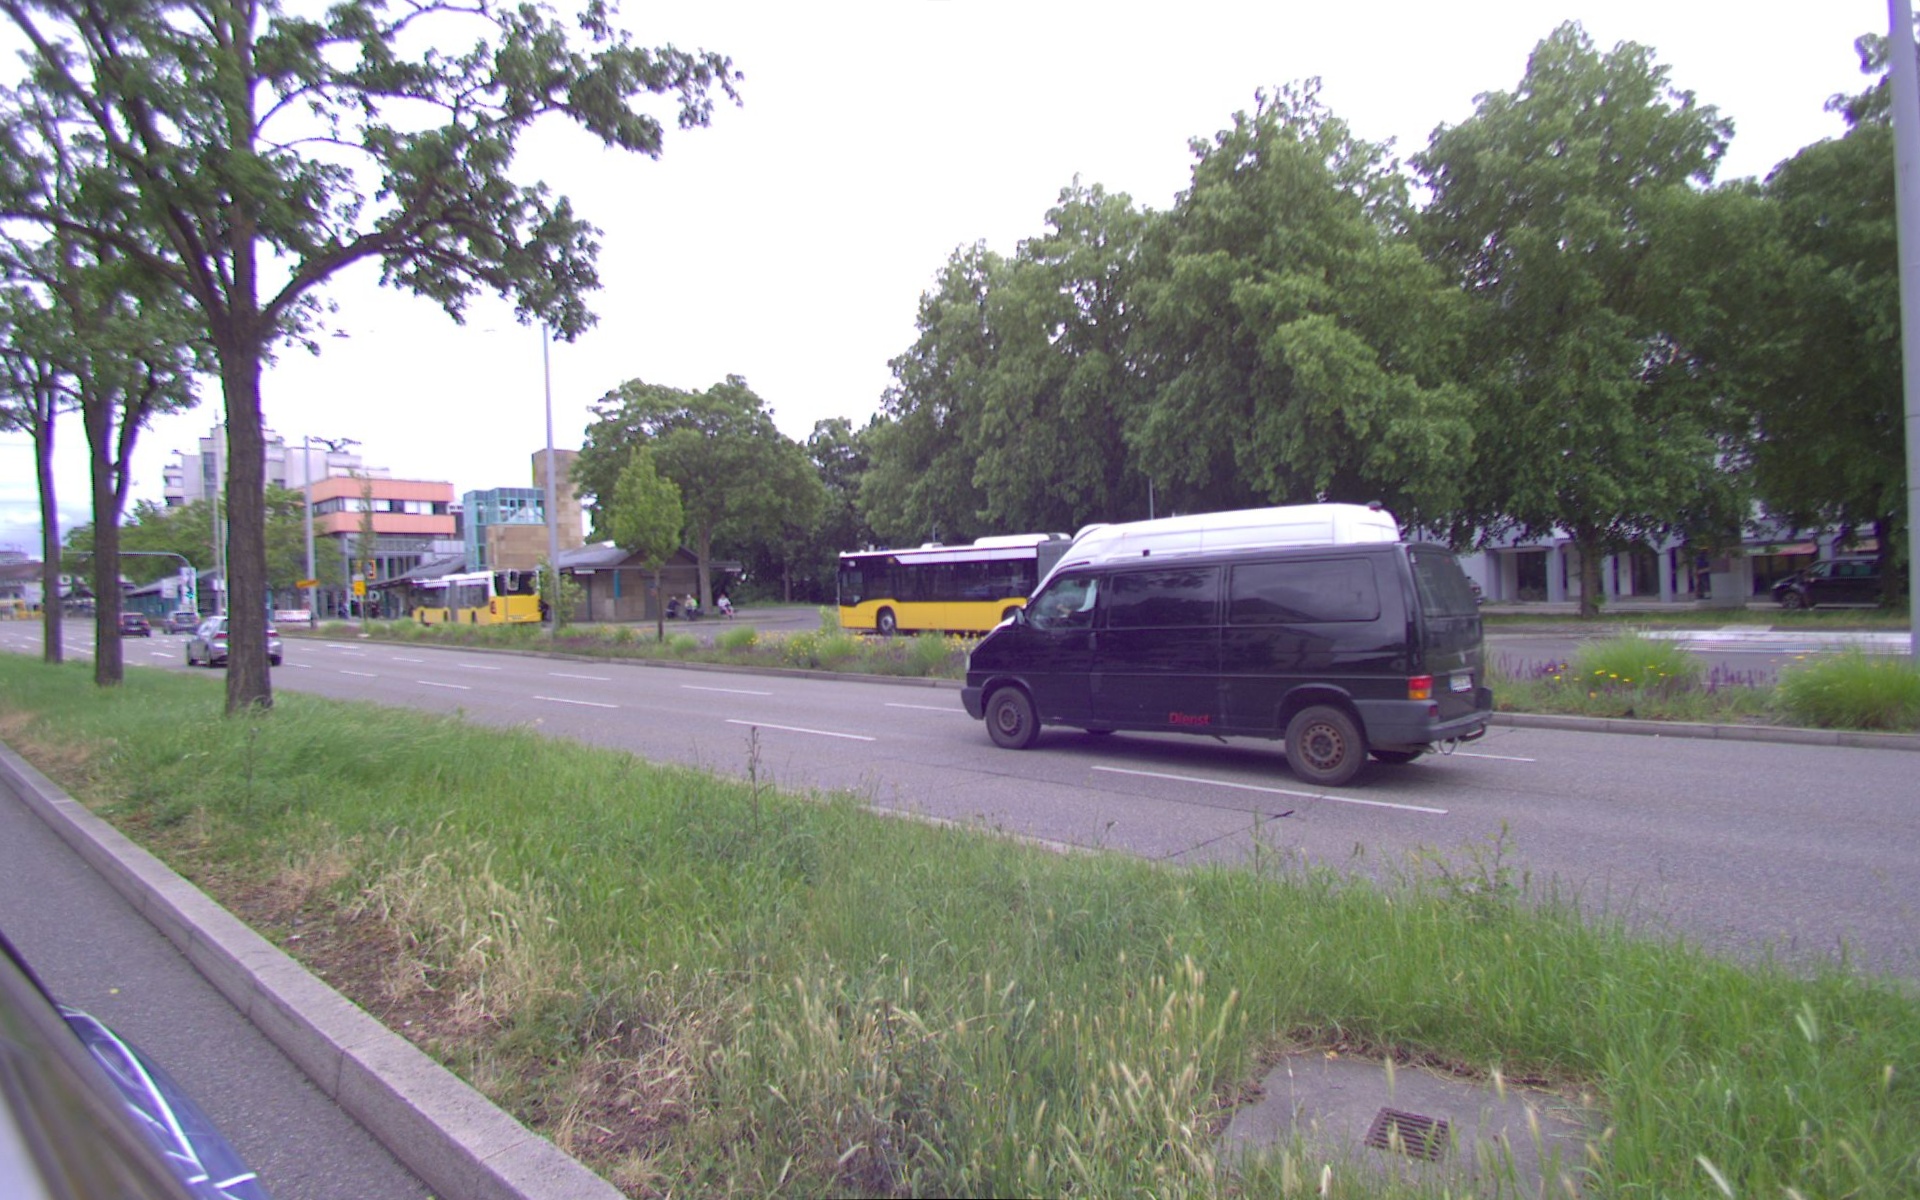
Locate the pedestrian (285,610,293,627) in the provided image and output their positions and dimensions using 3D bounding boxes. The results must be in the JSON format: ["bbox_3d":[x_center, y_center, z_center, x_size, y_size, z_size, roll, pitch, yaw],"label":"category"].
[{"bbox_3d":[-62.300,1.689,93.989,0.521,1.559,0.756,-2,0,-32],"label":"pedestrian"}]

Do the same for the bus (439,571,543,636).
[{"bbox_3d":[-25.857,0.218,55.457,2.774,3.155,9.316,-4,2,-39],"label":"bus"}]

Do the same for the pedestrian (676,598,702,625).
[{"bbox_3d":[-13.506,0.560,50.405,0.888,1.300,0.853,-1,0,18],"label":"pedestrian"}]

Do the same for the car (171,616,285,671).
[{"bbox_3d":[-21.084,1.233,29.094,4.131,1.455,1.735,-2,-2,40],"label":"car"}]

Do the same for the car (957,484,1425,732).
[{"bbox_3d":[2.794,0.187,13.543,5.874,2.654,1.972,-2,-3,42],"label":"car"}]

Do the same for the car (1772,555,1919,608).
[{"bbox_3d":[34.193,-0.676,38.429,1.967,1.846,4.829,-1,0,-34],"label":"car"}]

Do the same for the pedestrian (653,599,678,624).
[{"bbox_3d":[-15.106,0.603,51.943,0.887,1.264,0.854,-1,0,14],"label":"pedestrian"}]

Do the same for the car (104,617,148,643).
[{"bbox_3d":[-51.920,1.819,62.983,3.768,1.519,1.640,-1,0,43],"label":"car"}]

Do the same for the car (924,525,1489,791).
[{"bbox_3d":[2.109,0.480,9.736,4.971,1.932,1.915,-1,-2,41],"label":"car"}]

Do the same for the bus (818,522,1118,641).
[{"bbox_3d":[-0.136,-0.472,33.379,3.049,3.185,10.745,-8,4,-44],"label":"bus"}]

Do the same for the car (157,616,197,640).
[{"bbox_3d":[-54.052,1.908,69.811,1.794,1.519,4.004,-1,0,-43],"label":"car"}]

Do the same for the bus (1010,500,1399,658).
[{"bbox_3d":[6.030,-0.450,26.926,2.996,3.481,9.918,-4,2,-44],"label":"bus"}]

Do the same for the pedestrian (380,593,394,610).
[{"bbox_3d":[-48.475,0.121,85.632,0.975,1.472,0.593,-2,0,-32],"label":"pedestrian"}]

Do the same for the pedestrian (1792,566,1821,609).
[{"bbox_3d":[31.022,-0.446,37.088,0.649,1.559,0.668,-1,0,-40],"label":"pedestrian"}]

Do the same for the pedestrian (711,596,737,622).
[{"bbox_3d":[-11.913,0.455,51.080,0.858,1.264,0.883,-2,0,43],"label":"pedestrian"}]

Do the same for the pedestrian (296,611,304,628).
[{"bbox_3d":[-61.735,1.828,94.668,0.382,1.559,0.479,-2,0,34],"label":"pedestrian"}]

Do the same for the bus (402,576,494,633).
[{"bbox_3d":[-31.757,0.332,62.512,2.742,3.155,9.452,-4,2,-41],"label":"bus"}]
